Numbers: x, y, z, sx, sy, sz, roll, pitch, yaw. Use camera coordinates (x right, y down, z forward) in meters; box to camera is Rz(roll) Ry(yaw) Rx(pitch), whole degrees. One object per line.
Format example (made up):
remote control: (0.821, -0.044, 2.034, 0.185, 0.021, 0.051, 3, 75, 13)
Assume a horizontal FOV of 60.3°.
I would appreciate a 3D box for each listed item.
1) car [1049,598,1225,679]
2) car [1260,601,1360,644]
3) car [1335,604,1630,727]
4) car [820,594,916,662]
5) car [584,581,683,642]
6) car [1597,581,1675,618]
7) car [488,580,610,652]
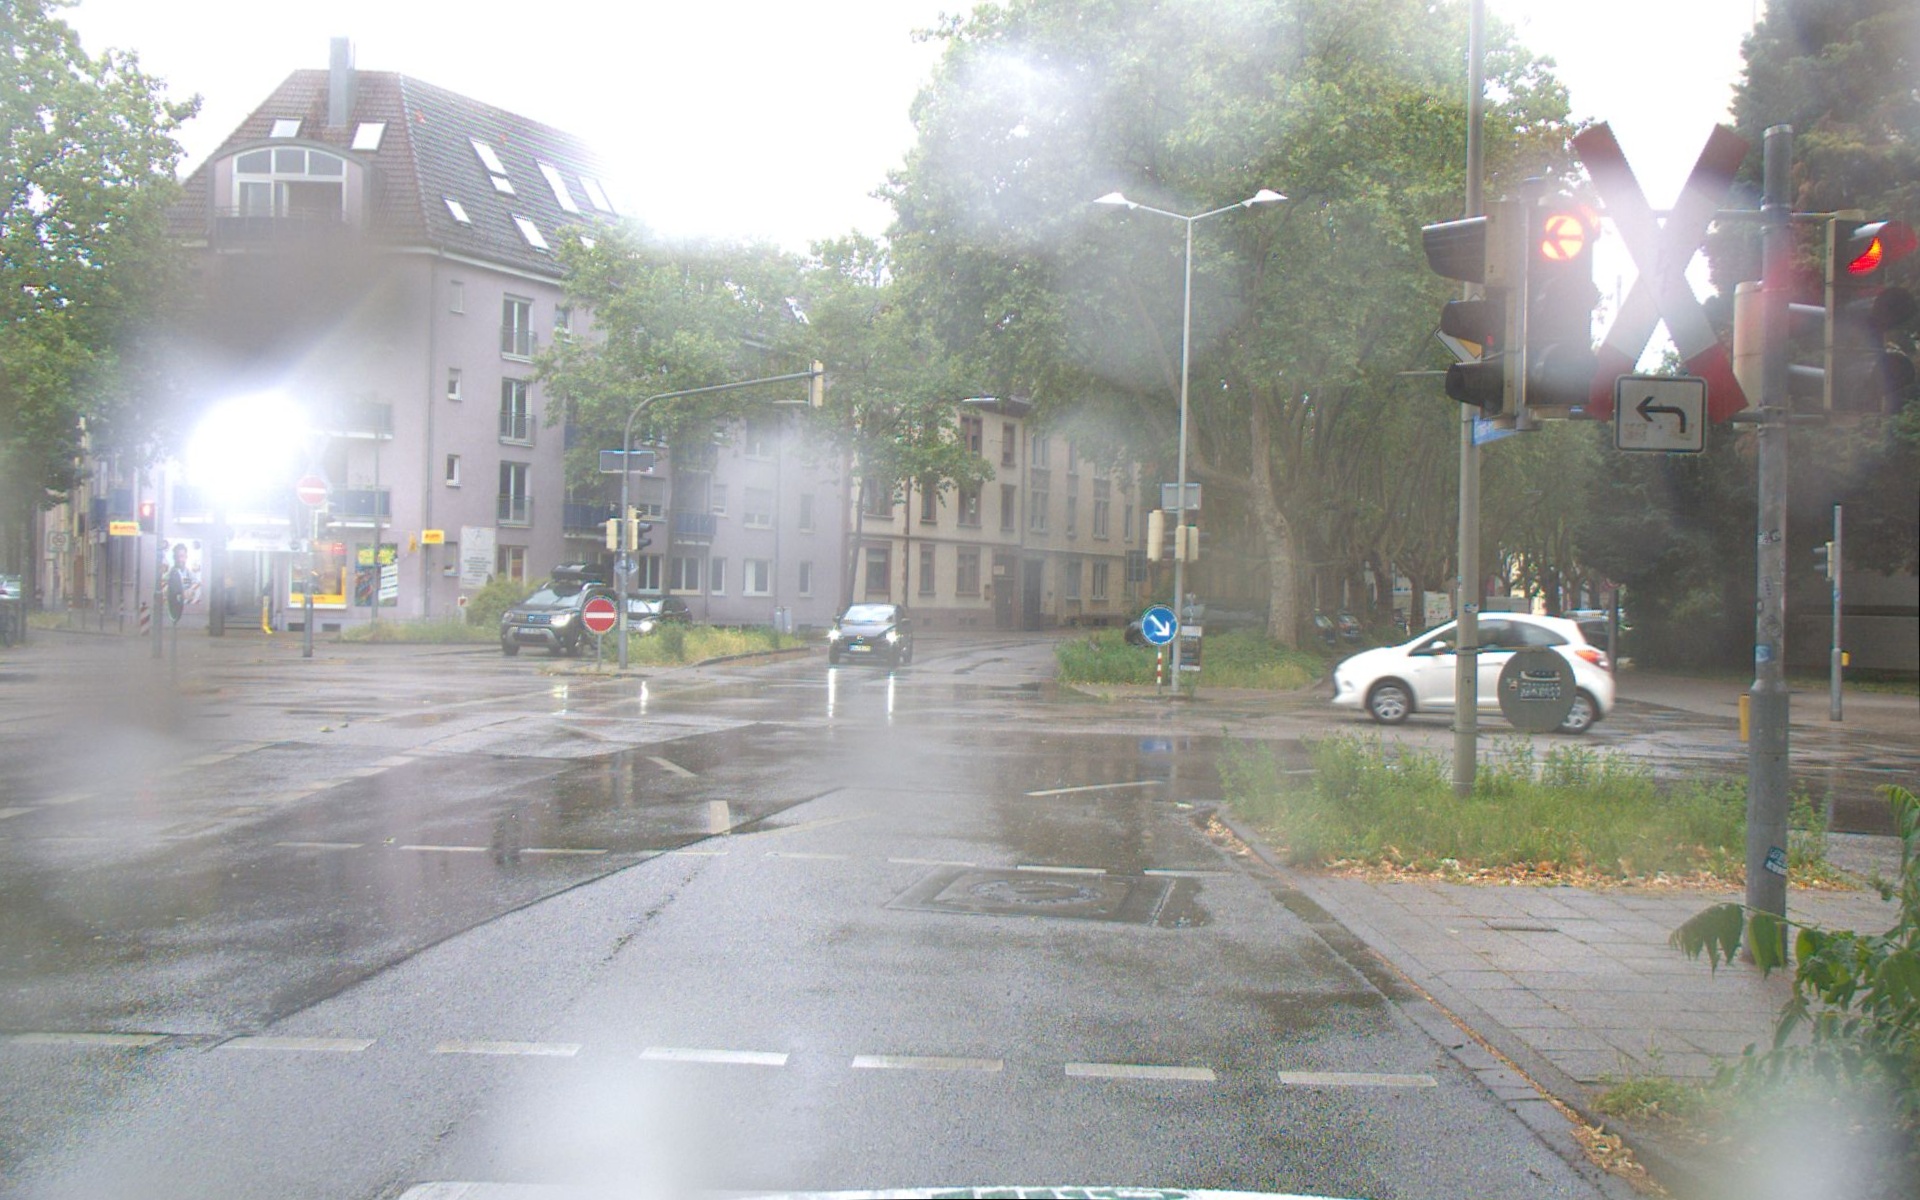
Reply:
car: (3.549, 0.762, 32.983, 3.405, 1.550, 1.521, 0, 0, 8)
car: (13.857, 0.883, 65.474, 3.537, 1.646, 1.679, 0, 0, 28)
car: (6.789, 0.823, 21.790, 3.563, 1.512, 1.726, 0, 0, 14)
car: (-2.213, 0.659, 40.487, 1.568, 1.579, 3.563, 0, 0, 10)
car: (-8.784, 0.298, 44.791, 1.688, 1.579, 3.562, 0, 0, 5)
car: (37.768, -0.041, 92.515, 3.903, 2.049, 1.708, 0, 0, 19)
car: (-9.533, 0.343, 38.630, 1.688, 1.579, 3.562, 0, 0, 5)
